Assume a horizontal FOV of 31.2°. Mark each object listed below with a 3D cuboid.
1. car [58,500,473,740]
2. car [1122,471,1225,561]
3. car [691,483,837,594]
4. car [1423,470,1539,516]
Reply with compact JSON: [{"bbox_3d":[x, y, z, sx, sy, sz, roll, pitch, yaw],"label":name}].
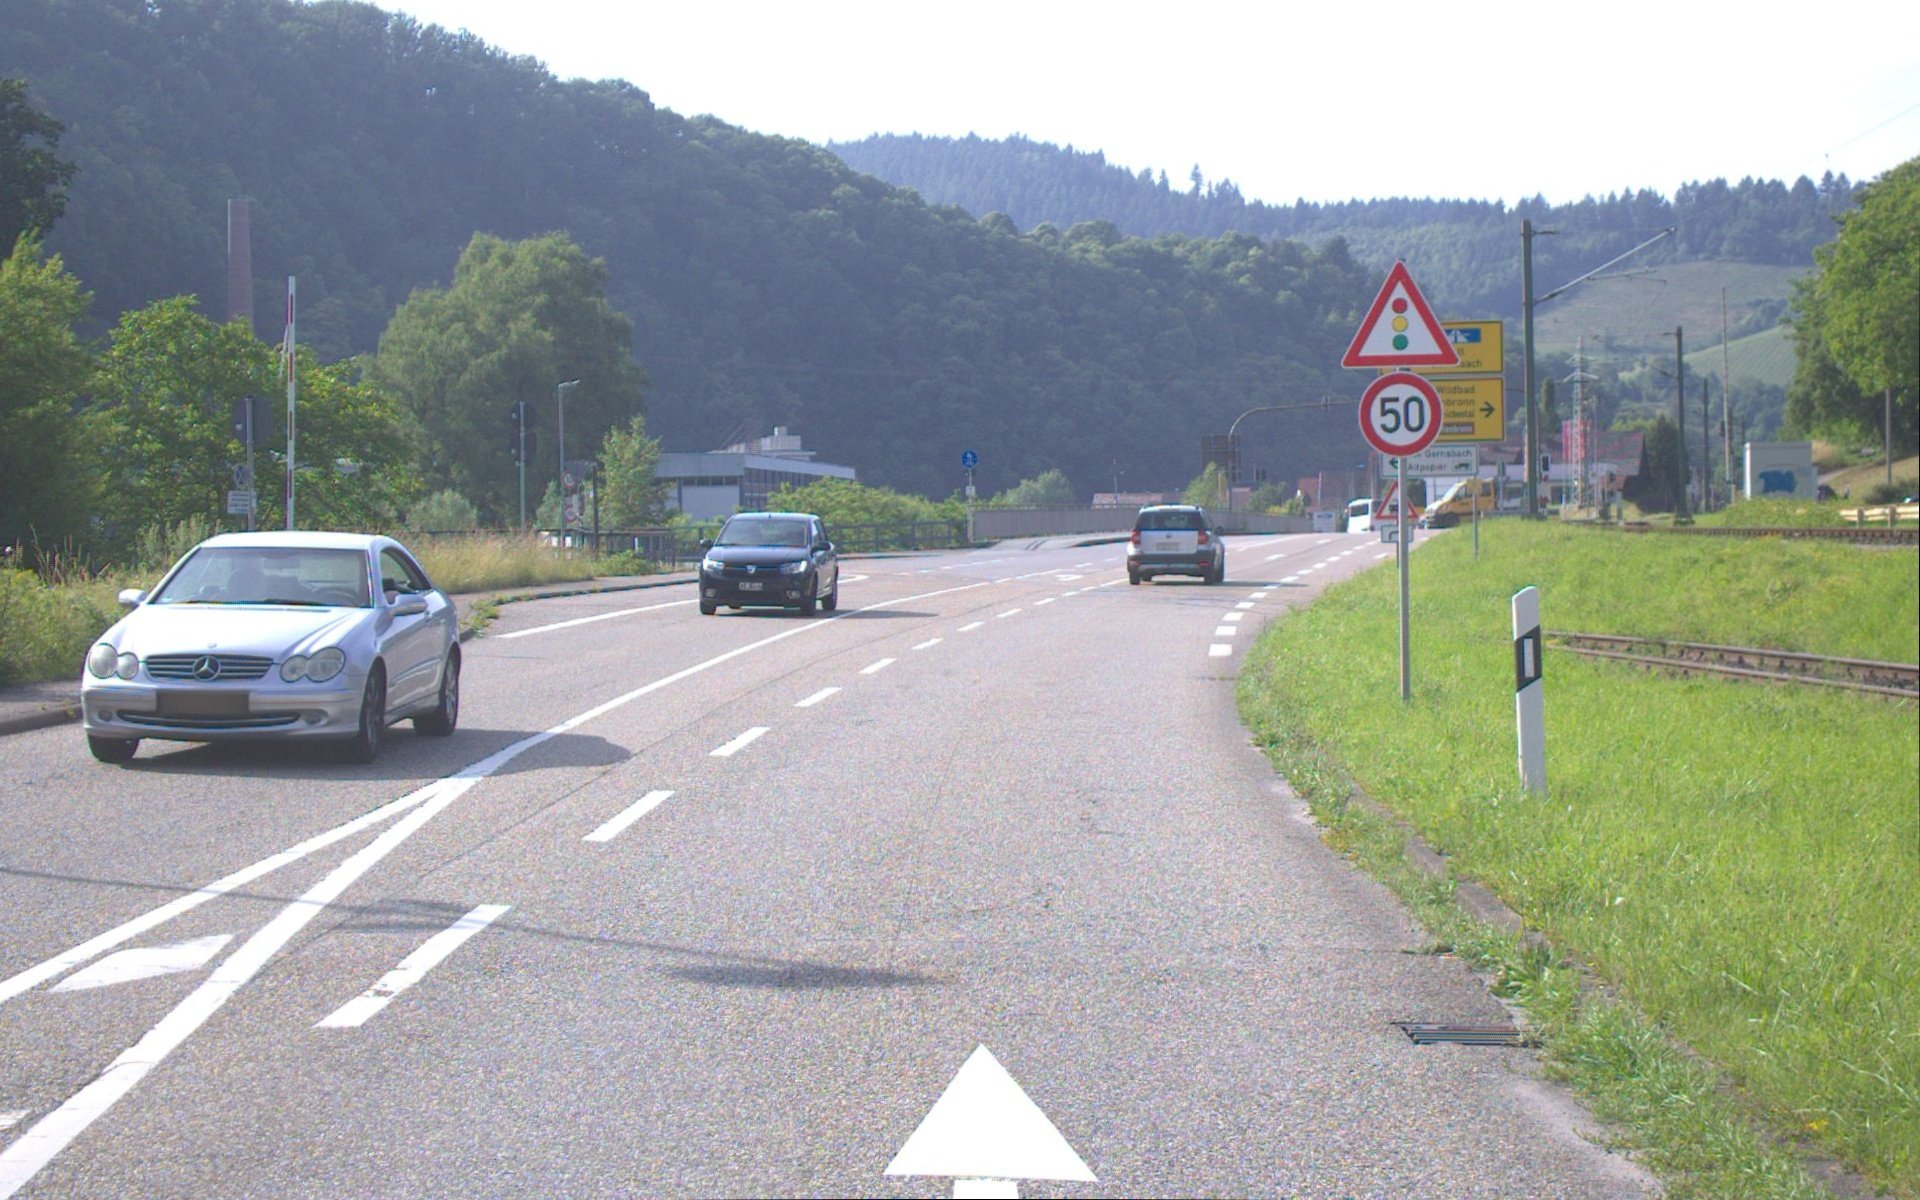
[{"bbox_3d":[-4.332,0.059,22.114,1.778,1.343,4.511,1,1,-1],"label":"car"},{"bbox_3d":[4.450,-1.750,71.766,1.994,1.717,3.990,-3,1,3],"label":"car"},{"bbox_3d":[-2.927,-0.961,52.188,1.847,1.579,4.316,1,2,1],"label":"car"},{"bbox_3d":[25.973,-5.319,171.390,5.277,2.007,2.001,-3,1,-8],"label":"car"}]
